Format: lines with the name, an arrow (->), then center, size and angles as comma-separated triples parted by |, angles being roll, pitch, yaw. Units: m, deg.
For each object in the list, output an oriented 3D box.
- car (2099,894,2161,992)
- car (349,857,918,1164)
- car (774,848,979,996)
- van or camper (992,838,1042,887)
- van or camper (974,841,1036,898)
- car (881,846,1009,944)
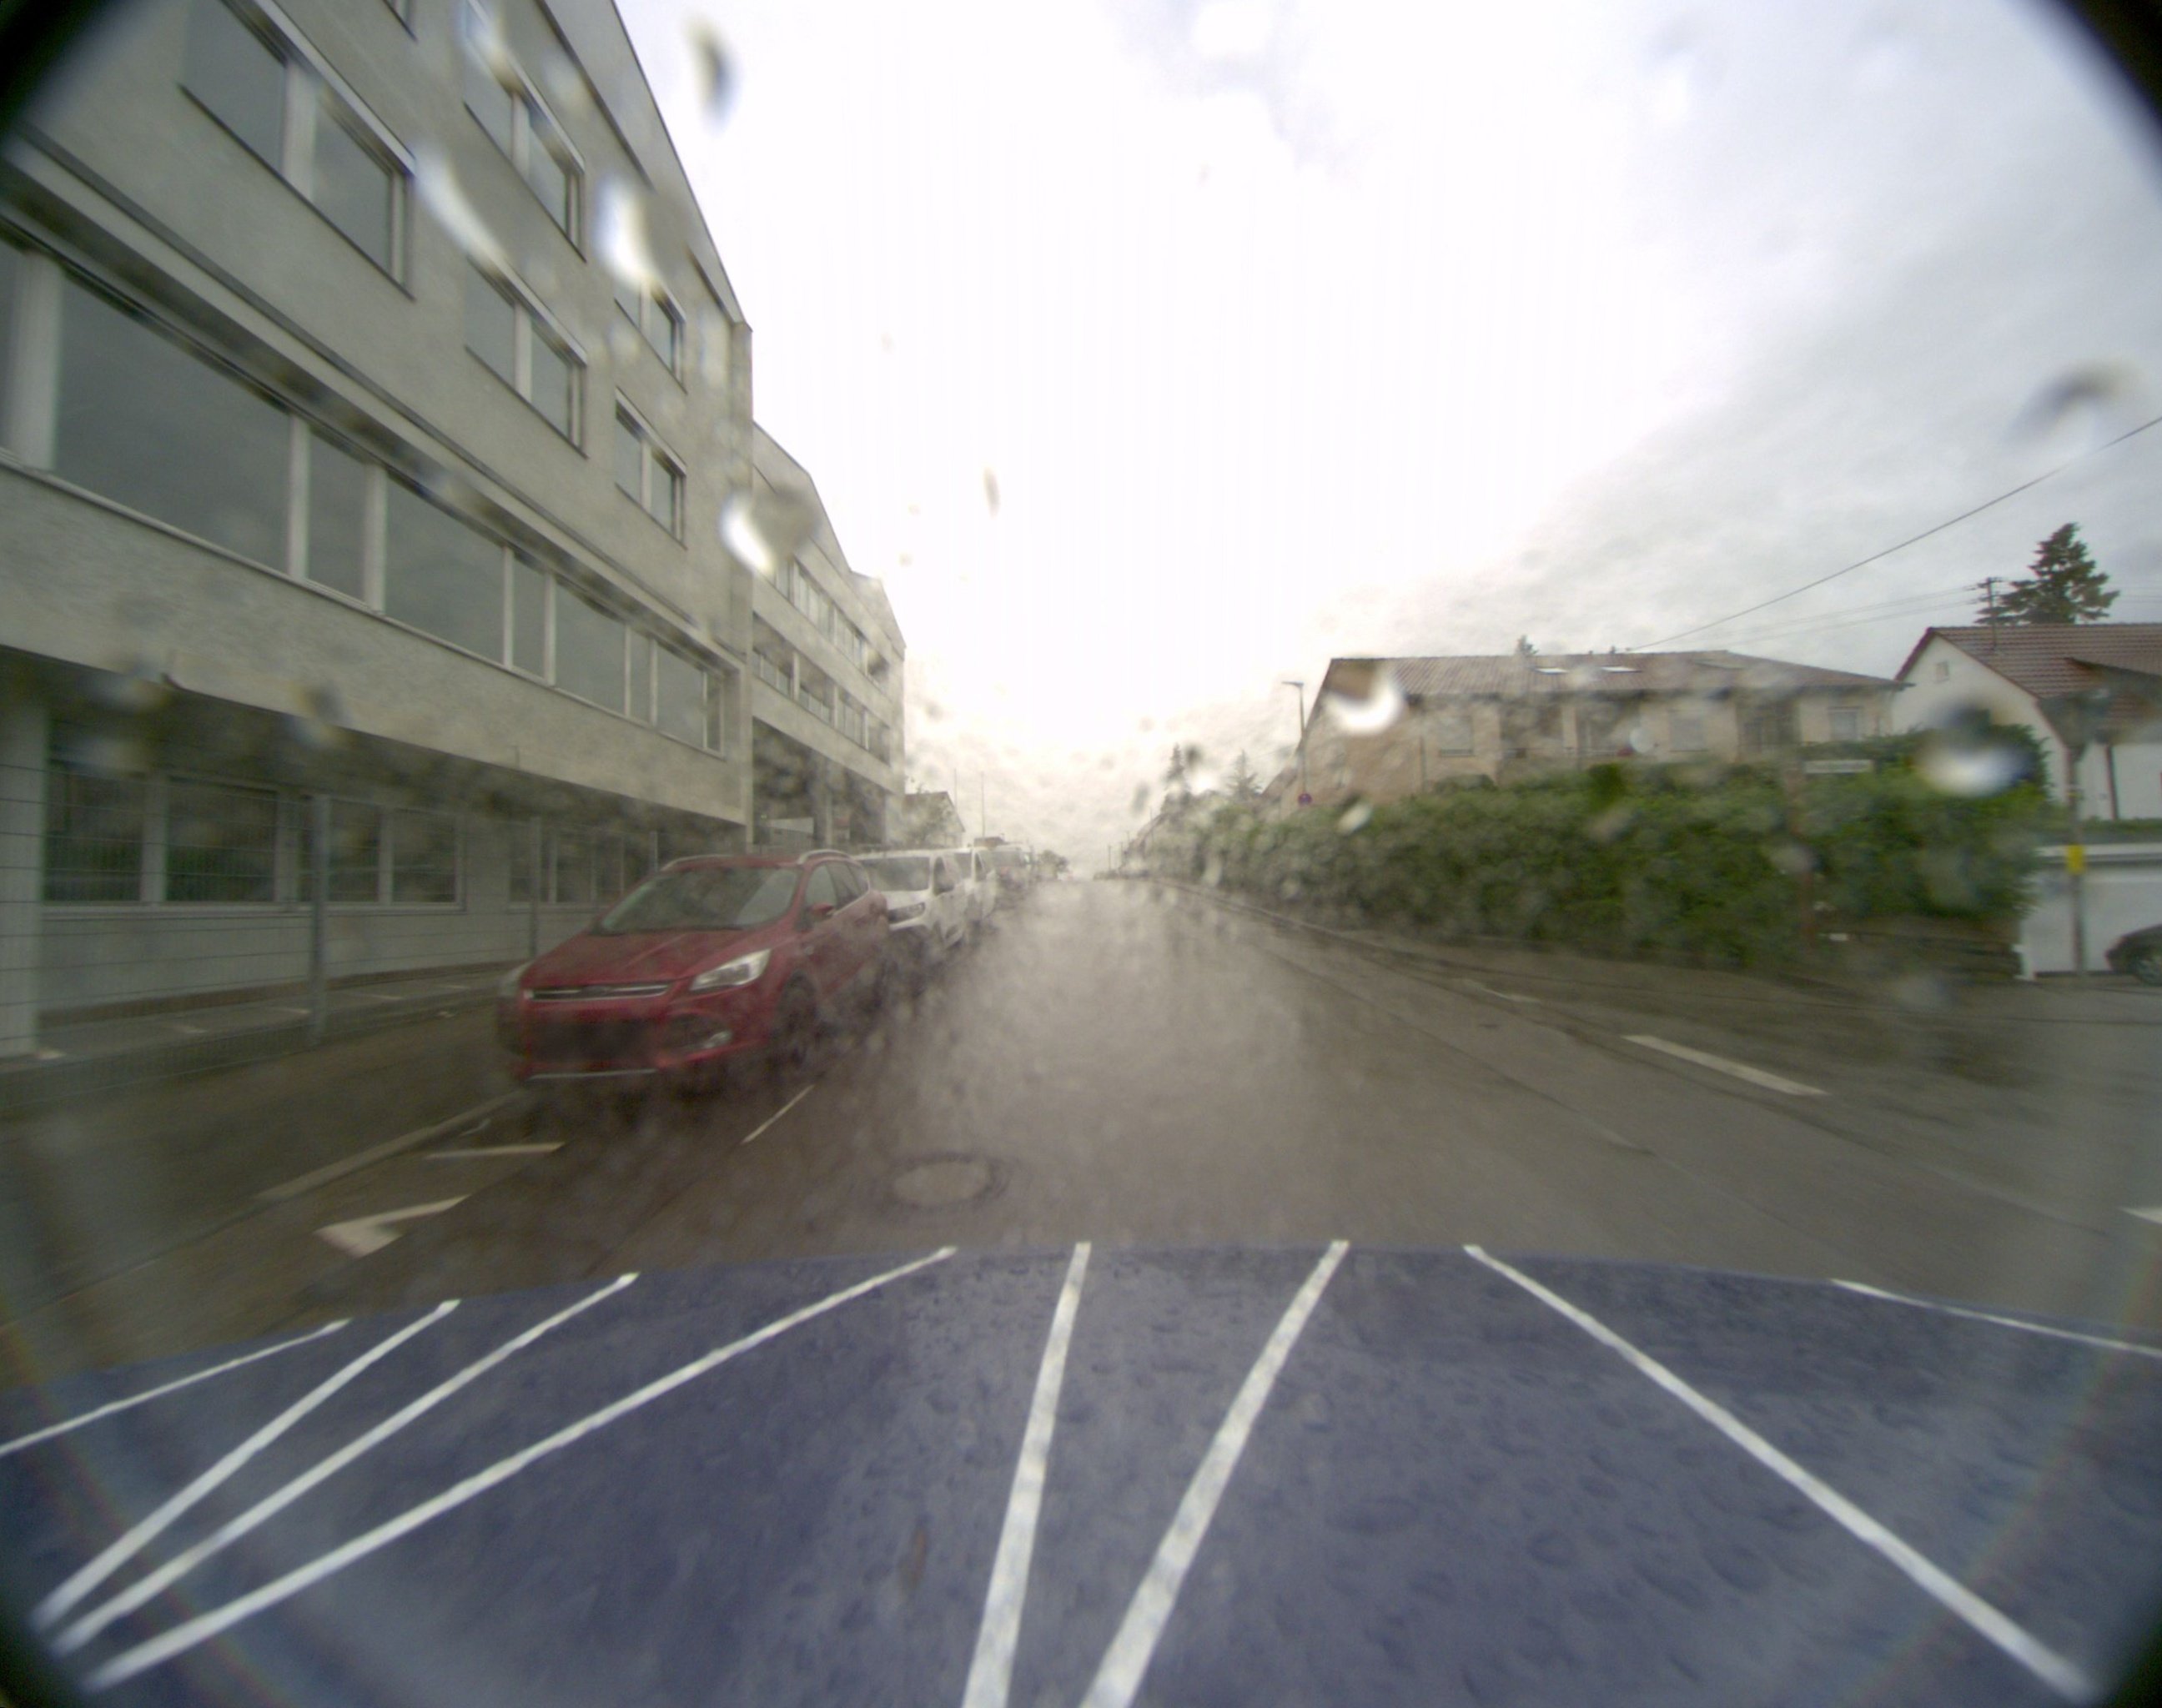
car -> 17.064, 1.169, 10.272 | 1.722, 1.446, 3.449 | 0, -8, -3
car -> -3.020, 0.883, 6.705 | 1.998, 1.635, 4.958 | -2, 0, 1
car -> -2.888, 0.862, 11.861 | 1.883, 1.823, 4.489 | -2, 0, 1
van or camper -> -3.076, 0.403, 37.587 | 1.999, 2.229, 5.441 | -1, 0, 0
van or camper -> -3.013, 0.597, 31.028 | 1.999, 2.101, 5.202 | -1, 0, 0
car -> -2.993, 0.823, 17.835 | 1.998, 1.923, 4.976 | -2, 0, 1
